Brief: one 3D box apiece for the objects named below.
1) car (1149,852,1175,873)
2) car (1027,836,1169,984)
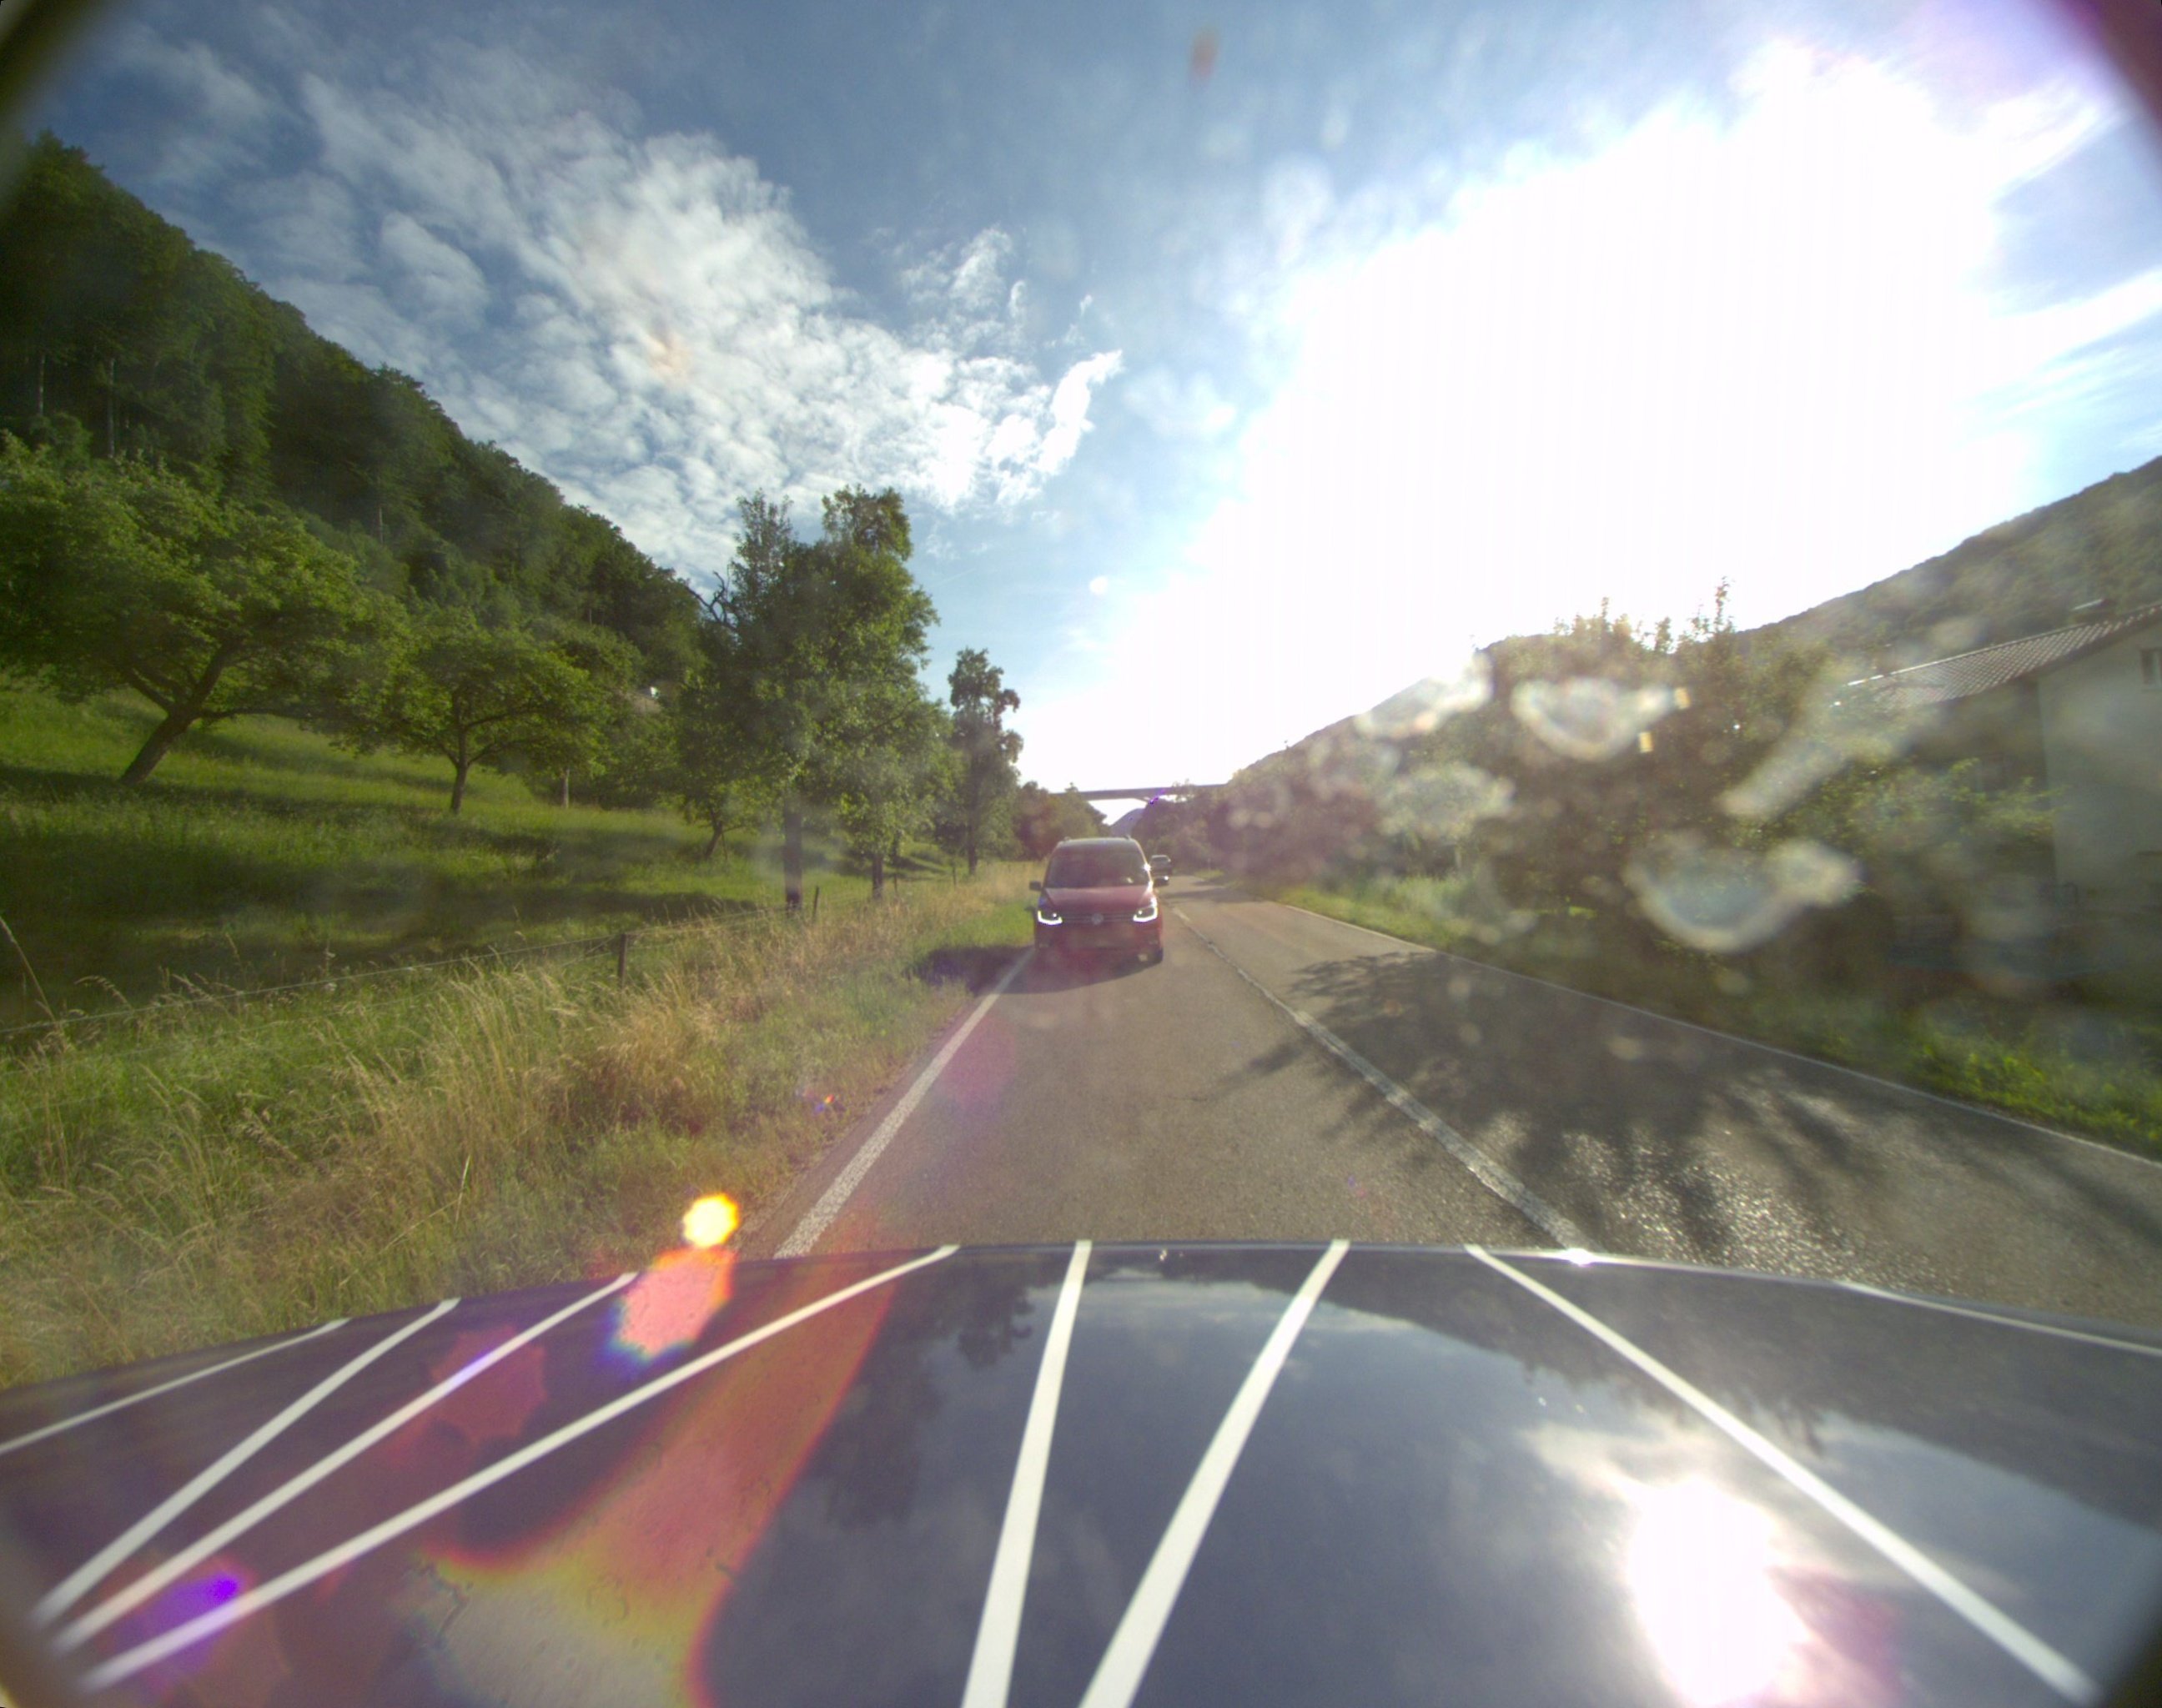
[{"bbox_3d":[5.936,0.605,55.886,1.696,1.401,3.664,-1,1,3],"label":"car"},{"bbox_3d":[0.242,0.704,11.493,1.741,1.803,4.000,-1,0,1],"label":"car"}]
